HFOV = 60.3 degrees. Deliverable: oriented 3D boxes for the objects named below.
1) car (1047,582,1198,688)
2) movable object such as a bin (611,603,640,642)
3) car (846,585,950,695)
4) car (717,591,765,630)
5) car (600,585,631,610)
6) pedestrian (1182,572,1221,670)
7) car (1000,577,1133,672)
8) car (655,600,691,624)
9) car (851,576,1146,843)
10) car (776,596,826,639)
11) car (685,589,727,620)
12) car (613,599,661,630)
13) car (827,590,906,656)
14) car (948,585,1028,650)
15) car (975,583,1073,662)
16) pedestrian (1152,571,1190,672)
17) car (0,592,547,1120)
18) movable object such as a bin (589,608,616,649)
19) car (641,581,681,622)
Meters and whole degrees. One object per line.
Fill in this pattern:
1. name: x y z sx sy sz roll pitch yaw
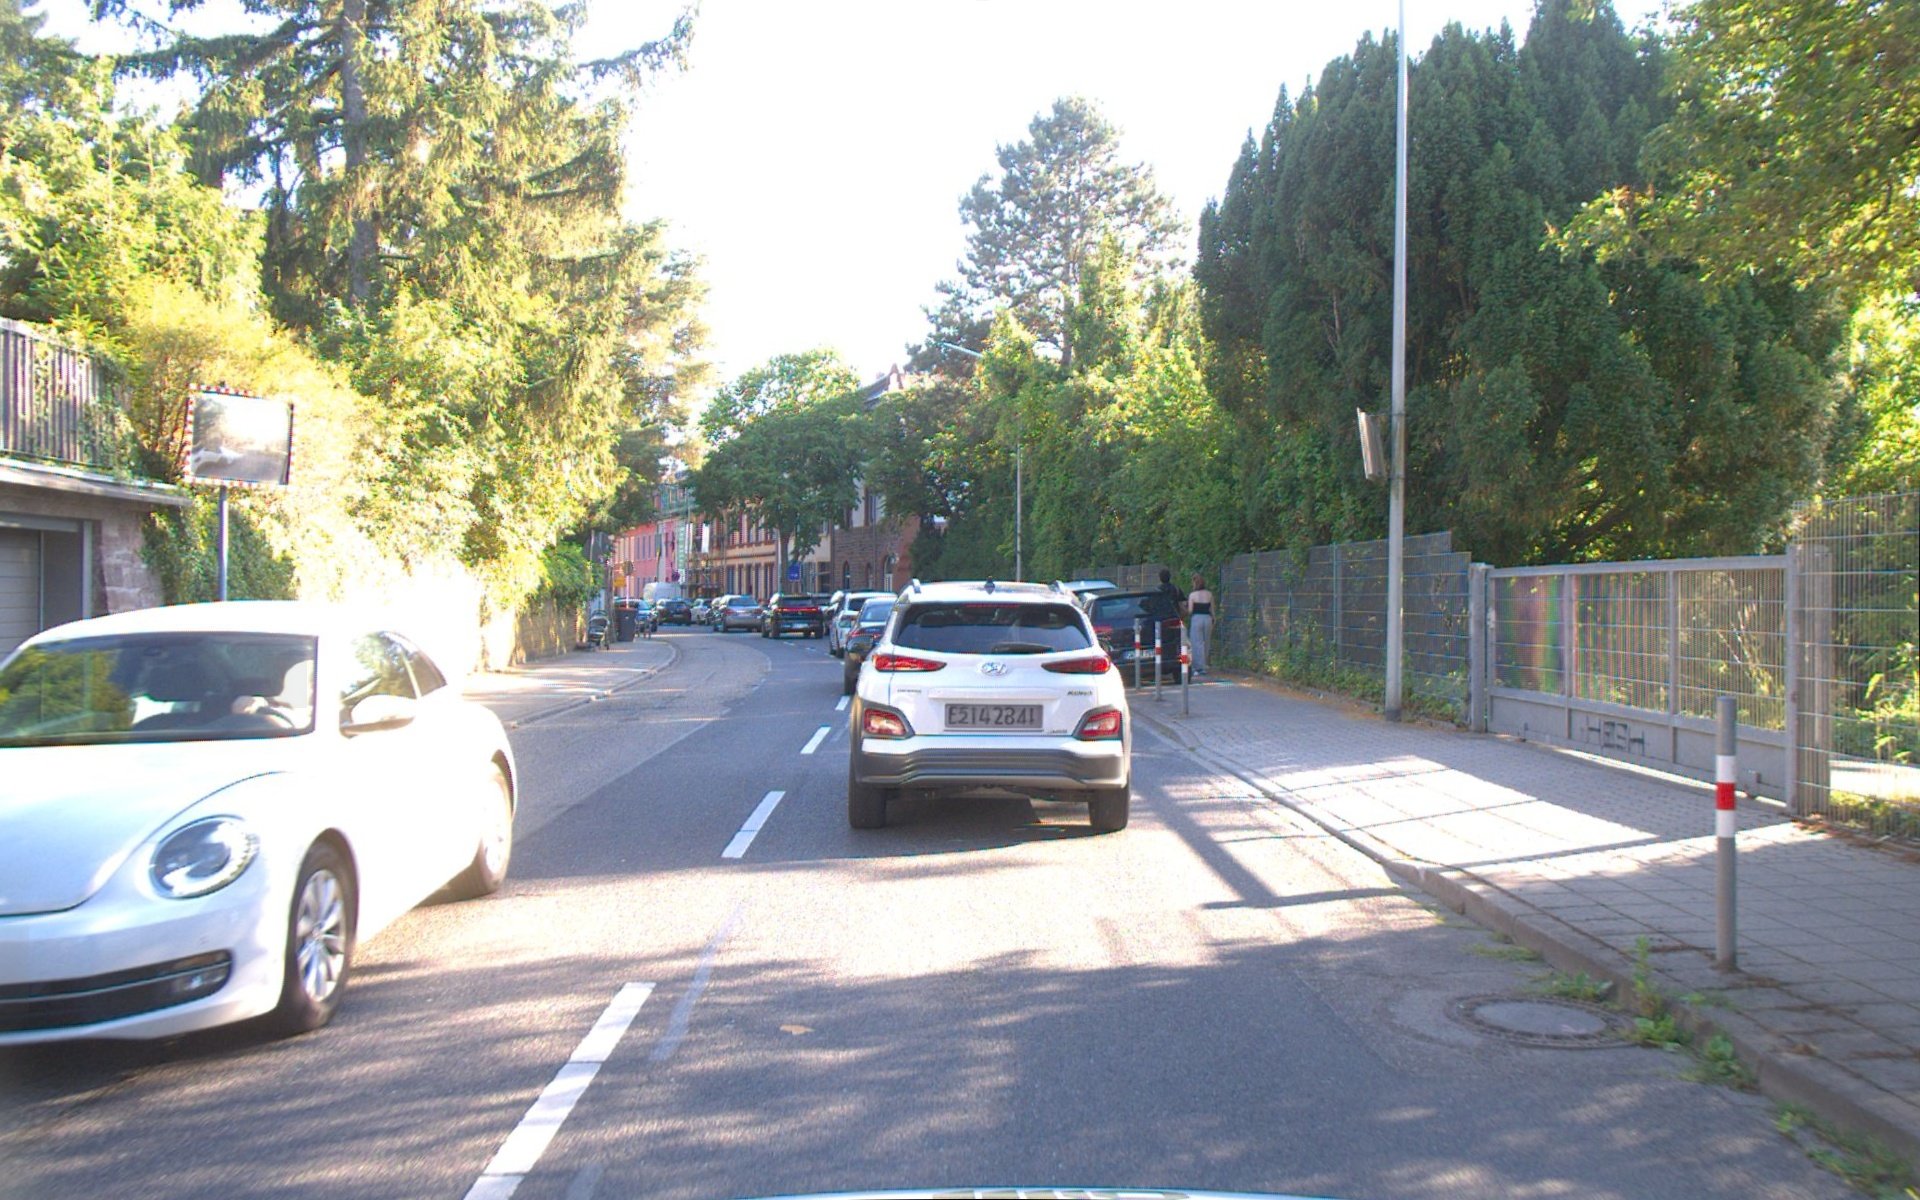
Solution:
1. car: 2.454 0.497 25.878 1.653 1.456 3.997 -2 0 -4
2. movable object such as a bin: -10.744 0.723 53.200 0.776 1.210 0.772 1 -1 -3
3. car: -1.001 0.561 25.521 1.482 1.560 3.545 0 1 -4
4. car: -9.603 0.446 72.399 1.564 1.610 3.346 -1 0 -16
5. car: -27.787 -0.221 133.329 1.694 1.970 3.973 -1 0 -22
6. pedestrian: 4.027 0.352 27.616 0.493 1.596 0.503 -3 0 -1
7. car: 1.921 0.441 30.978 1.564 1.592 3.991 -2 0 -10
8. car: -15.766 0.648 90.837 1.503 1.282 3.344 -1 0 -18
9. car: 0.209 0.641 11.761 1.736 1.569 3.999 0 0 -1
10. car: -5.754 0.626 59.632 1.564 1.486 3.091 -1 0 -10
11. car: -14.756 0.244 95.968 1.729 1.645 3.979 1 1 -19
12. car: -14.457 0.627 73.915 1.569 1.341 3.790 0 0 -20
13. car: -2.298 0.514 39.890 1.542 1.503 3.540 1 0 -9
14. car: 0.681 0.412 42.183 1.563 1.515 3.597 -3 1 -6
15. car: 1.346 0.470 36.397 1.563 1.545 3.927 -3 0 -6
16. pedestrian: 3.516 0.354 27.601 0.493 1.634 0.491 -3 0 -1
17. car: -3.046 0.754 6.787 1.706 1.500 3.999 -2 0 -1
18. movable object such as a bin: -9.335 0.735 43.194 0.485 1.029 1.112 1 -1 -2
19. car: -19.760 0.118 109.227 1.901 2.628 4.368 -1 0 -20
